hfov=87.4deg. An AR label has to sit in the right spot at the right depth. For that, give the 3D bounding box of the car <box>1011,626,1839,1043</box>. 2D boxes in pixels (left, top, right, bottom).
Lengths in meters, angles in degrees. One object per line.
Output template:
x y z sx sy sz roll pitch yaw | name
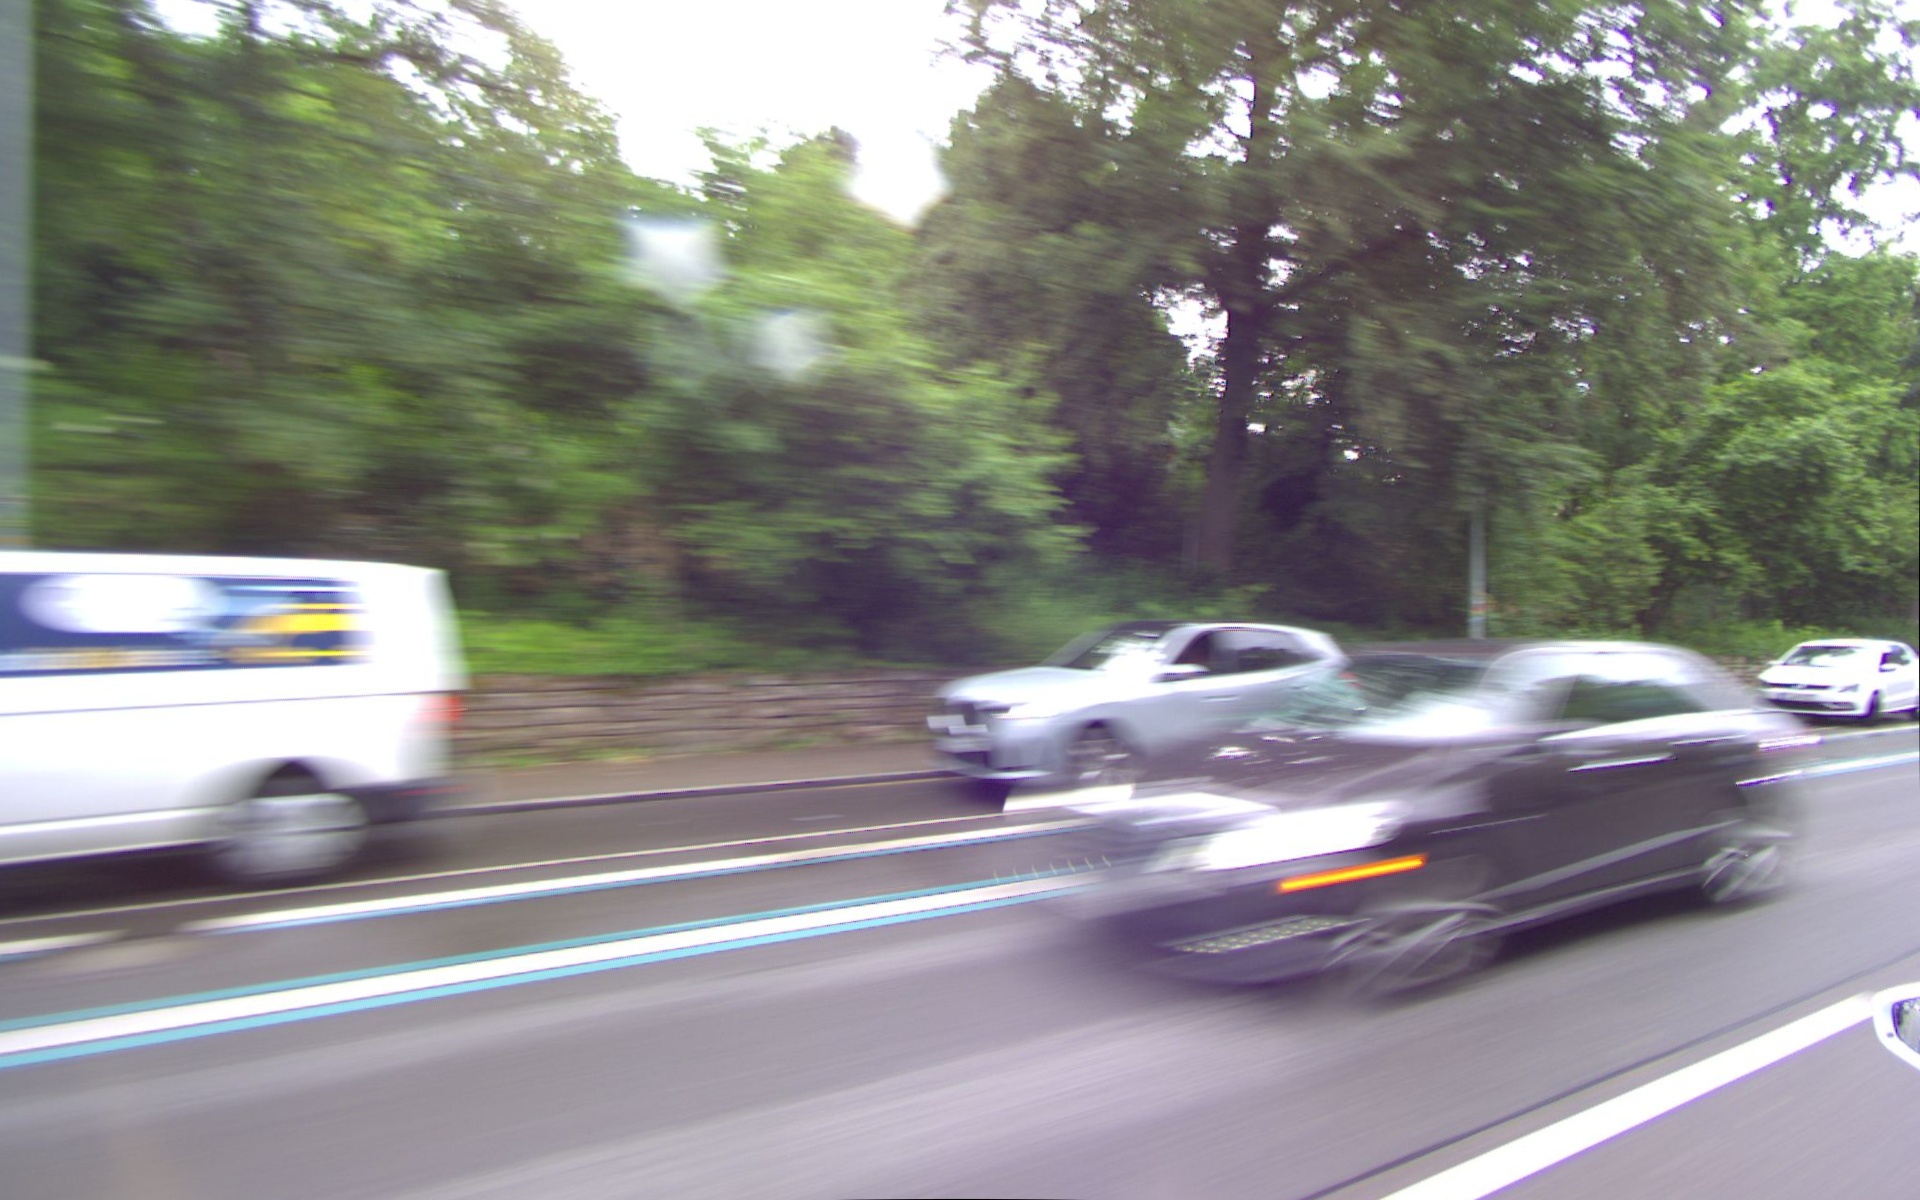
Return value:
2.706 0.916 5.572 4.566 1.475 1.906 1 -3 -30 | car

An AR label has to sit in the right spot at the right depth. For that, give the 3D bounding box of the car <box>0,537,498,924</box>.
-5.646 0.682 6.032 4.967 2.031 1.961 1 0 -35 | car

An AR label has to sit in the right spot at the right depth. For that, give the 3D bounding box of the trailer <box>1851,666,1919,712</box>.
20.441 1.870 21.255 3.268 0.830 1.534 1 -1 -32 | trailer

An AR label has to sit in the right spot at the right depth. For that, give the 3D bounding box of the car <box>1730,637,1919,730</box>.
16.097 1.453 18.514 3.938 1.502 1.779 1 -2 -32 | car

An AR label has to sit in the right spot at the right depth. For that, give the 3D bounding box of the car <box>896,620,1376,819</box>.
1.898 1.045 10.352 4.723 1.627 2.001 1 -1 -30 | car
